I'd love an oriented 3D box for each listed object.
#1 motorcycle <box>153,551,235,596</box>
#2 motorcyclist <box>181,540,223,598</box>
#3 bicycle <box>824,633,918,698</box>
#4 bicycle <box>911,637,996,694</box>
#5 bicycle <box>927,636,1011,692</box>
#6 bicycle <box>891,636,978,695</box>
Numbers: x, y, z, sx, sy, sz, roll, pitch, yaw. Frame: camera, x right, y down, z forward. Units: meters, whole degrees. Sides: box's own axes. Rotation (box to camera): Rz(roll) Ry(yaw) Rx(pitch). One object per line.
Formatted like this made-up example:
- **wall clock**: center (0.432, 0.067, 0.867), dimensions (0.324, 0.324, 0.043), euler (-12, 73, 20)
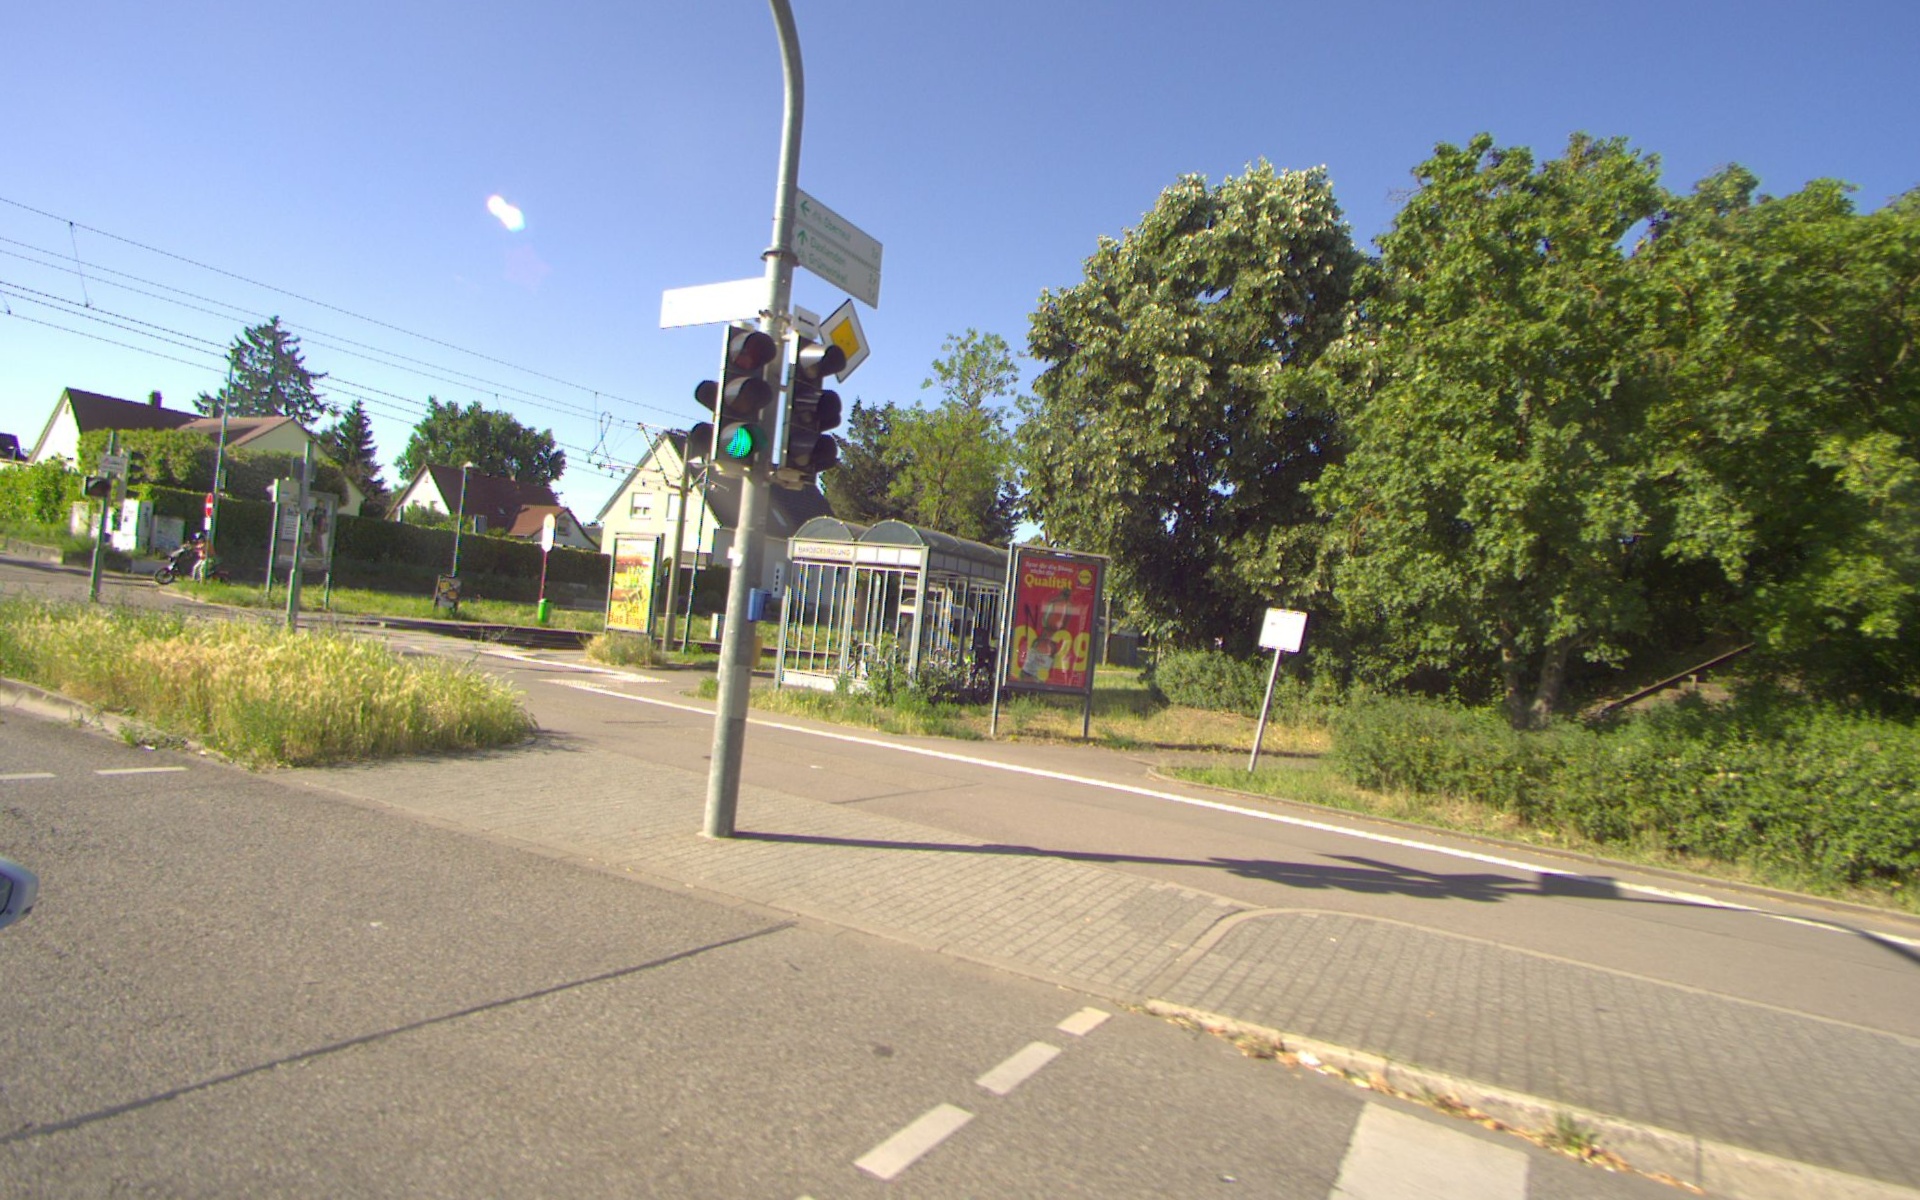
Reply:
- **motorcycle**: center (-22.006, -0.741, 28.931), dimensions (0.444, 1.084, 1.756), euler (7, 0, 36)
- **motorcyclist**: center (-21.946, -0.900, 29.126), dimensions (0.689, 1.577, 0.693), euler (7, 1, 37)
- **bicycle**: center (-1.615, 1.172, 18.135), dimensions (1.758, 1.080, 0.430), euler (1, -1, 33)
- **bicycle**: center (-0.152, 1.328, 20.537), dimensions (1.758, 1.080, 0.430), euler (1, -1, 33)
- **bicycle**: center (0.174, 1.325, 21.029), dimensions (1.758, 1.080, 0.430), euler (1, -1, 33)
- **bicycle**: center (-0.511, 1.291, 19.941), dimensions (1.758, 1.080, 0.430), euler (1, -1, 33)
